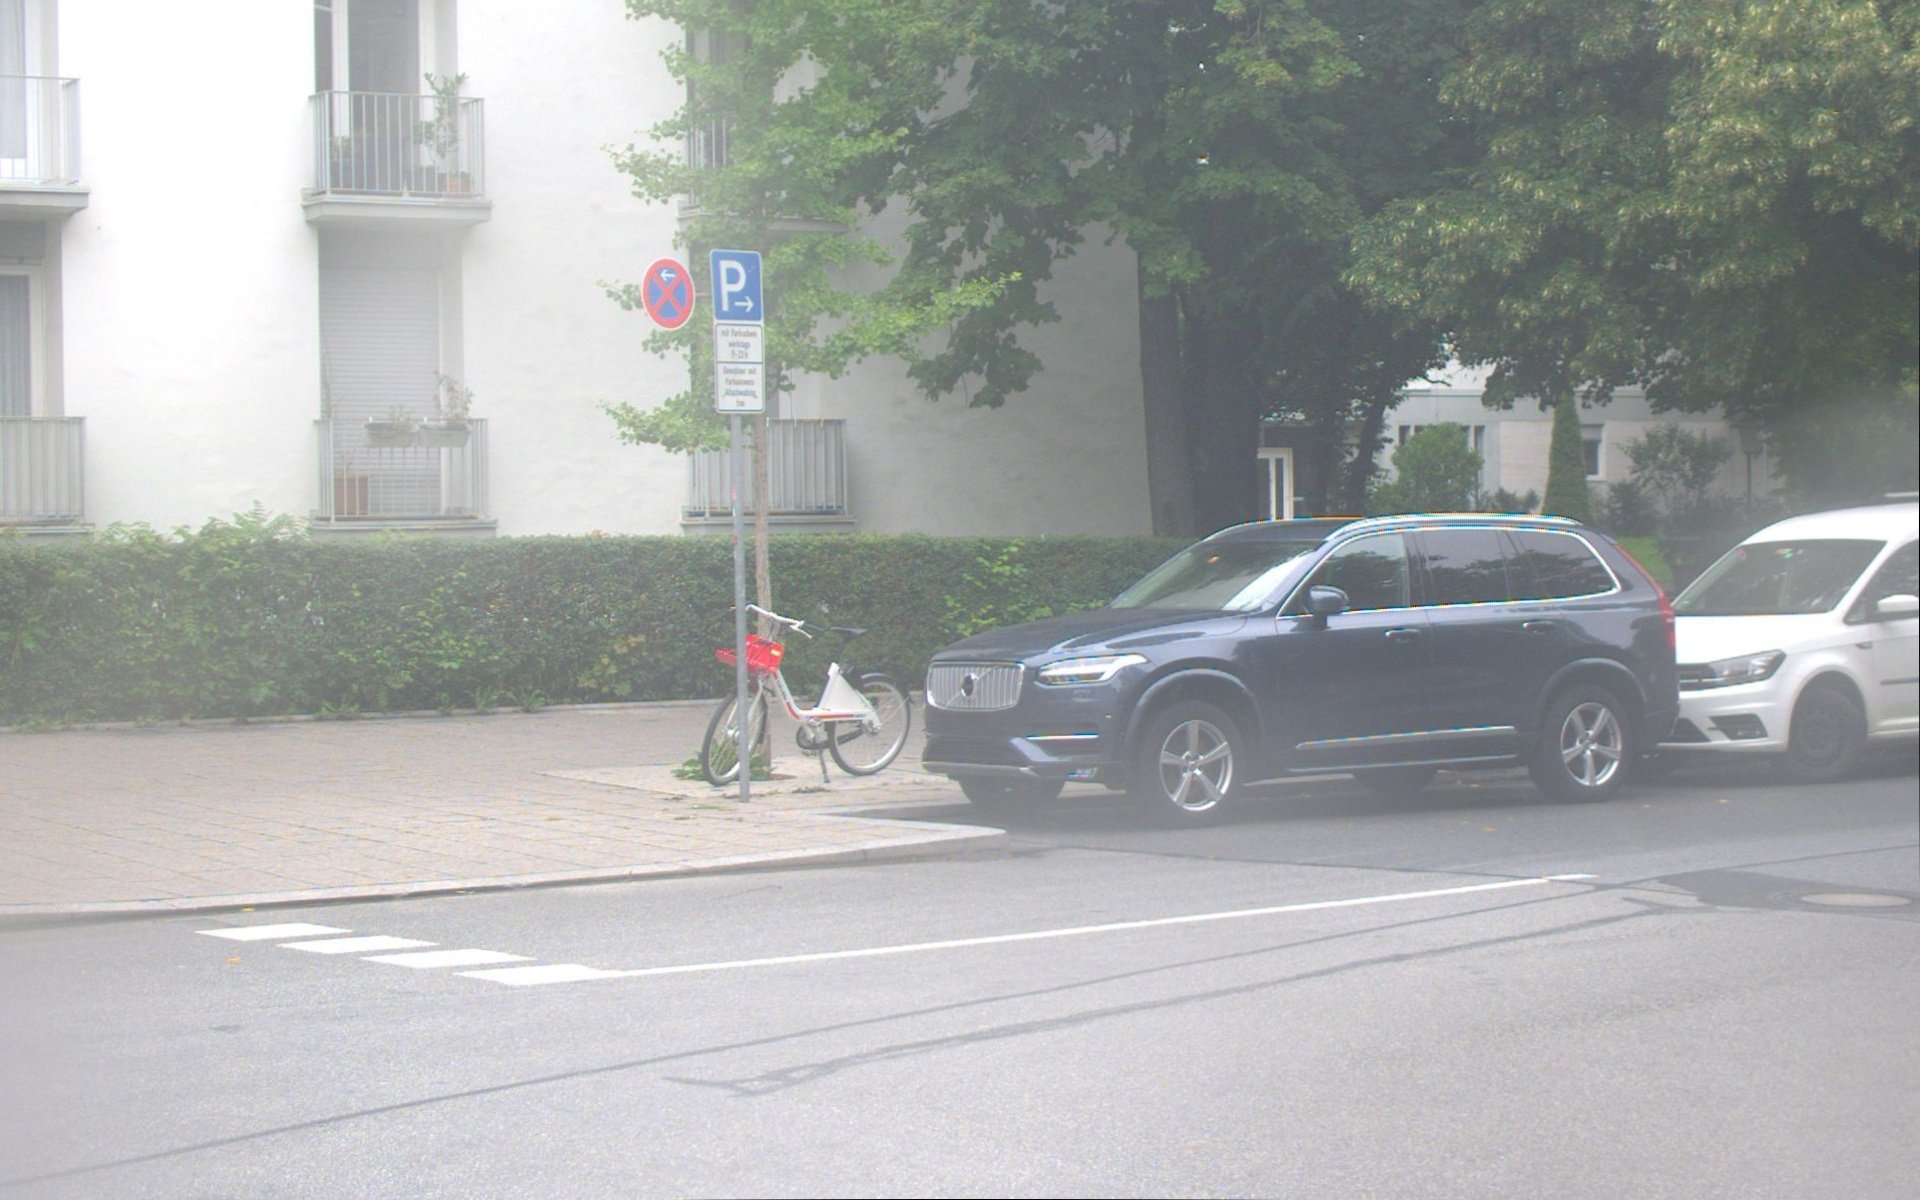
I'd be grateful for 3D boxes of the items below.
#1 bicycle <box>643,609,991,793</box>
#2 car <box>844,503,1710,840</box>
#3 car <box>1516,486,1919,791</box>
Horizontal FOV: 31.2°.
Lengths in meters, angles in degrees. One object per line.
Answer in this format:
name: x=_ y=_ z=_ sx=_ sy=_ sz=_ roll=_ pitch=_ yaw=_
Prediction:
bicycle: x=-0.882 y=0.604 z=21.403 sx=1.965 sy=1.048 sz=0.914 roll=-1 pitch=1 yaw=-33
car: x=1.941 y=0.323 z=20.360 sx=4.891 sy=1.761 sz=2.071 roll=-1 pitch=2 yaw=-34
car: x=6.249 y=0.178 z=23.505 sx=4.852 sy=1.888 sz=1.932 roll=-1 pitch=2 yaw=-35
